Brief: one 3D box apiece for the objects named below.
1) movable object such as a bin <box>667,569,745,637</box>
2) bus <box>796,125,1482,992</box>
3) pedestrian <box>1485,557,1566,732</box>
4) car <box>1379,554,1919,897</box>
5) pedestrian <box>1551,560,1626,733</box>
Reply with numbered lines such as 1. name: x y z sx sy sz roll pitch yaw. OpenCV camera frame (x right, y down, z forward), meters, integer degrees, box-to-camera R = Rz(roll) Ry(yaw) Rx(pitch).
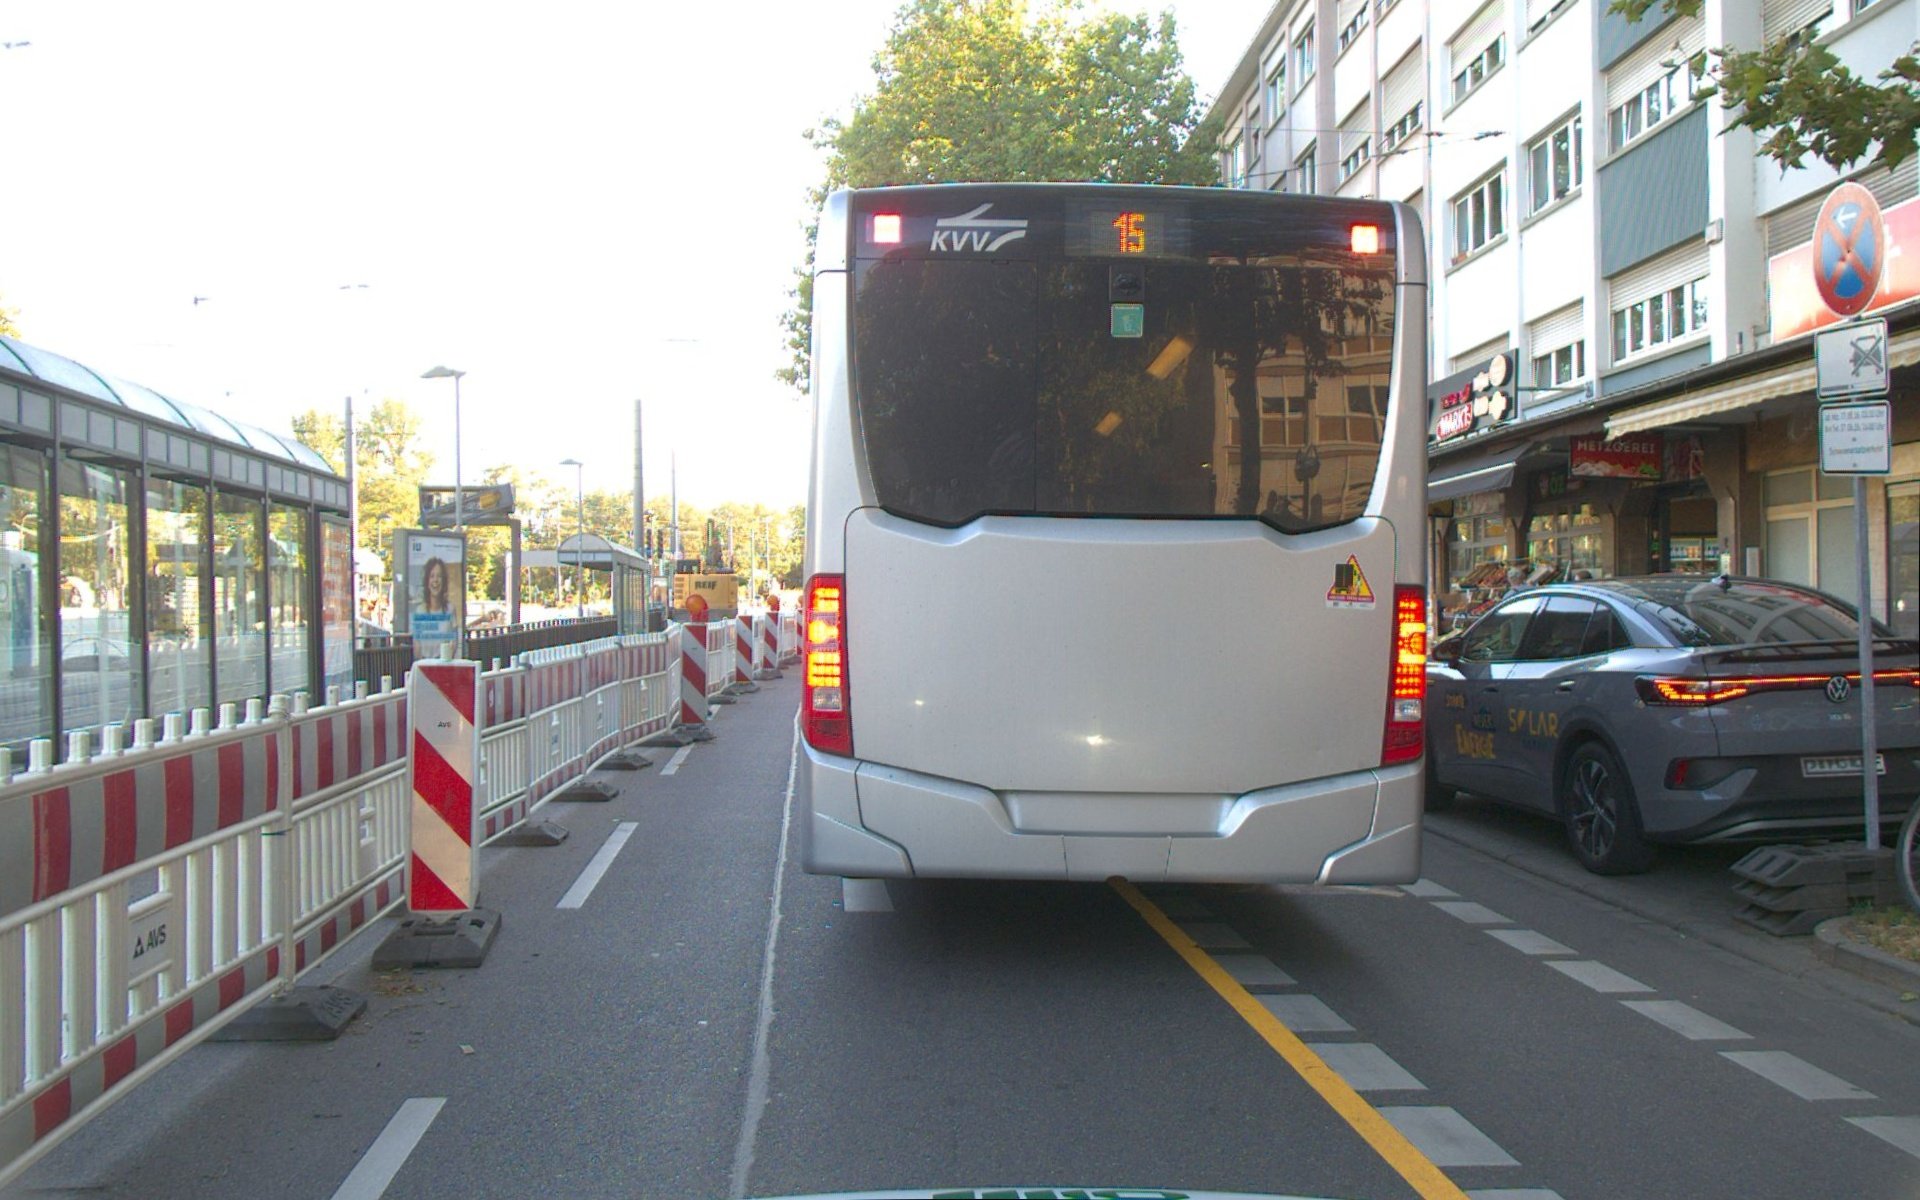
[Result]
1. movable object such as a bin: -9.707 0.101 63.527 2.752 2.505 3.995 -1 0 -6
2. bus: 0.663 -0.169 11.315 2.555 3.225 10.291 0 0 0
3. pedestrian: 6.726 0.520 19.701 0.677 2.049 0.696 -1 0 -4
4. car: 4.229 0.609 10.365 1.706 1.625 4.294 -3 0 -5
5. pedestrian: 7.566 0.552 19.944 0.600 2.049 0.696 -1 0 -2
